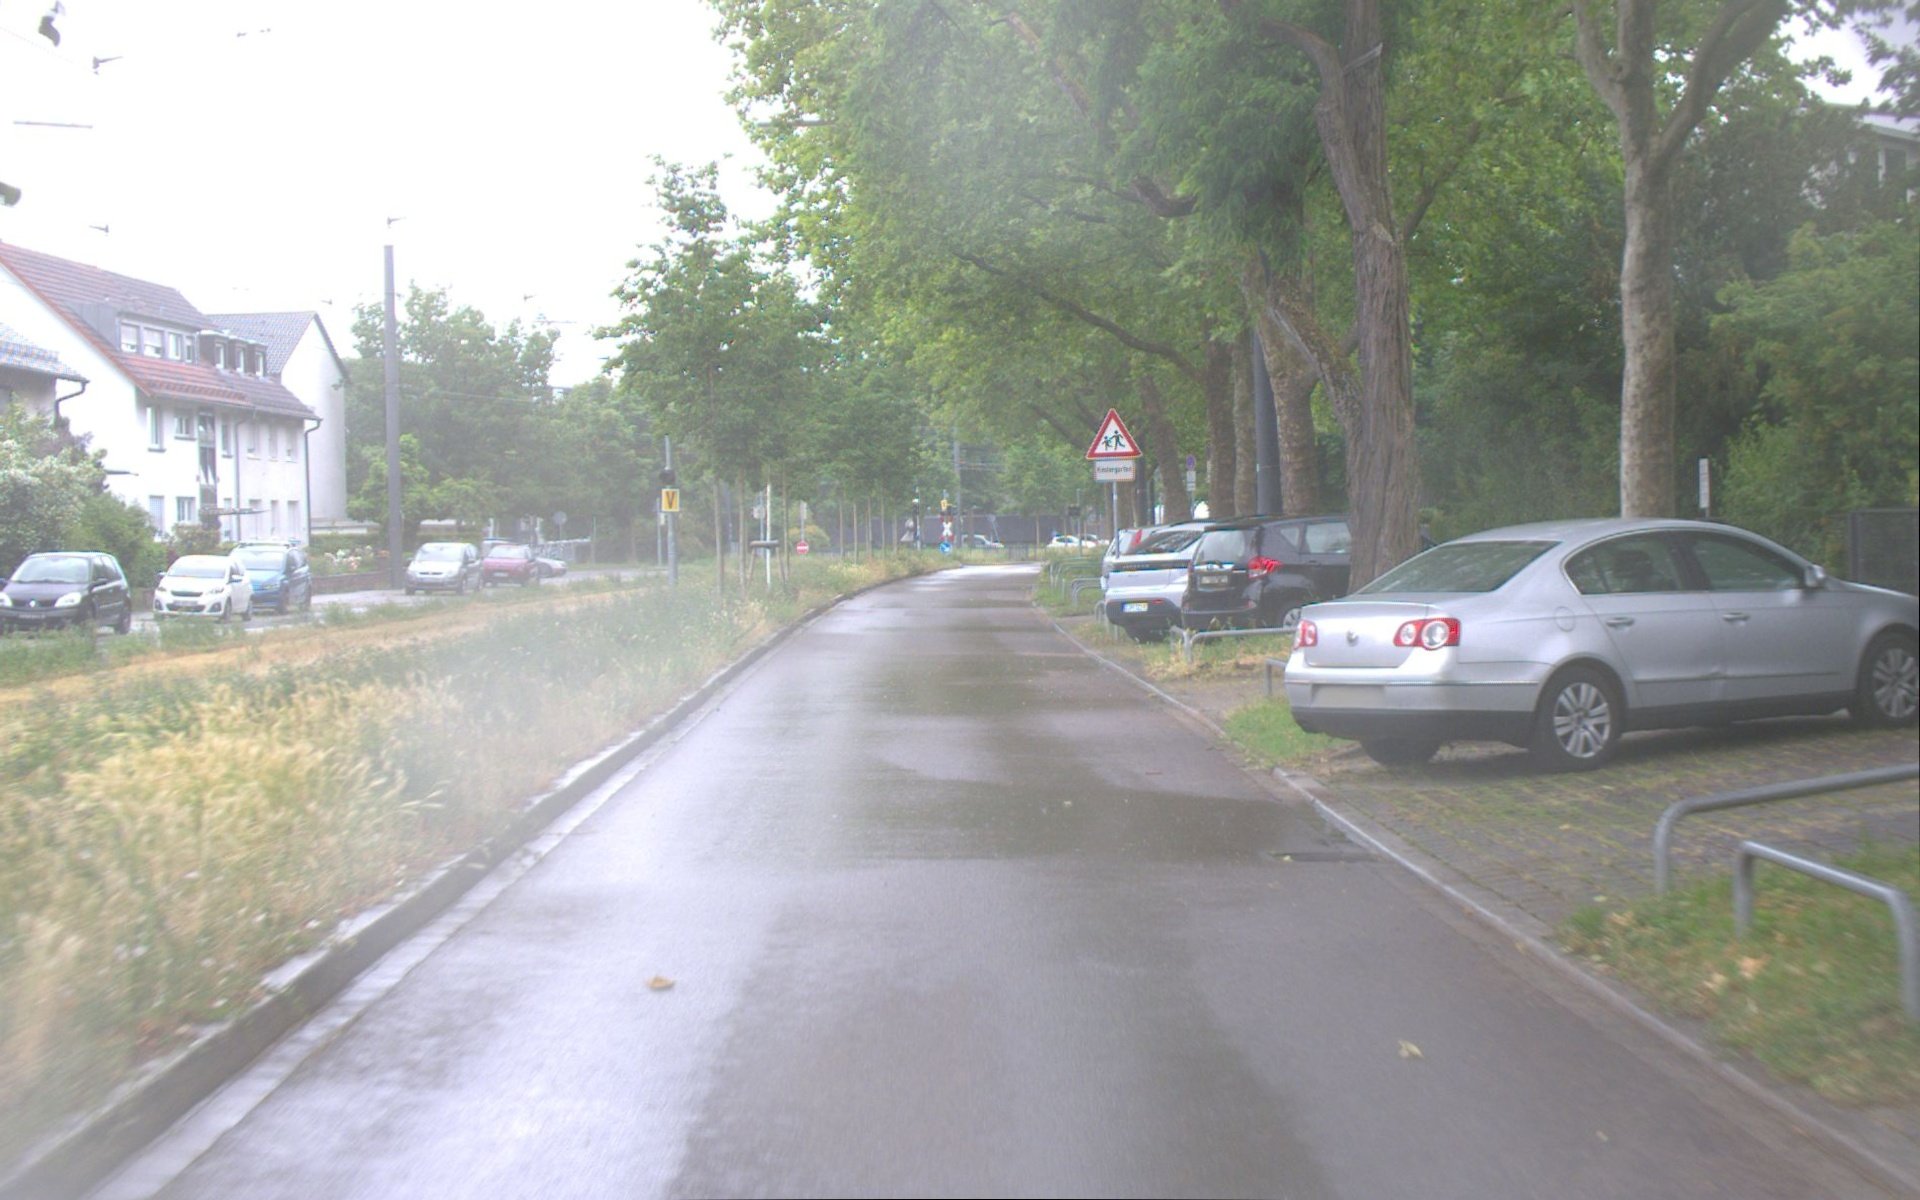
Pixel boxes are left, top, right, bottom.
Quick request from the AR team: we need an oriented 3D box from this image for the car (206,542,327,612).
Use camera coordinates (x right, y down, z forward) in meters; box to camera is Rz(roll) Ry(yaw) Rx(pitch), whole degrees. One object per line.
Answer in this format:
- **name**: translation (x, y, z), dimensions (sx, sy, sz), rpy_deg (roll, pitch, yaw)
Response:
- **car**: translation (-16.833, -0.583, 83.597), dimensions (1.993, 1.608, 4.413), rpy_deg (1, 2, 1)

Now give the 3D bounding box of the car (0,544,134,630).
- **car**: translation (-17.124, -0.276, 64.946), dimensions (1.993, 1.511, 4.206), rpy_deg (1, 2, 1)

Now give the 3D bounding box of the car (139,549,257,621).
- **car**: translation (-16.982, -0.354, 76.800), dimensions (1.796, 1.483, 3.597), rpy_deg (1, 2, 1)

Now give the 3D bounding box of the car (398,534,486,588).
- **car**: translation (-16.111, -1.234, 107.137), dimensions (1.993, 1.575, 4.517), rpy_deg (1, 2, 1)

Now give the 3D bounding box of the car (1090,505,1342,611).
- **car**: translation (4.309, -0.720, 57.930), dimensions (3.854, 1.561, 1.620), rpy_deg (-3, 2, -14)

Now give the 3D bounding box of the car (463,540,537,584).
- **car**: translation (-16.170, -1.352, 121.069), dimensions (1.993, 1.483, 4.206), rpy_deg (1, 2, 1)

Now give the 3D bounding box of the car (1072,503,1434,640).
- **car**: translation (4.036, -0.410, 46.965), dimensions (4.761, 1.662, 1.994), rpy_deg (-3, 2, -37)

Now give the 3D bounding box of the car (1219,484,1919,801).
- **car**: translation (4.054, 0.189, 21.547), dimensions (4.547, 1.539, 1.887), rpy_deg (-5, 3, -32)

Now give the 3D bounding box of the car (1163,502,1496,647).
- **car**: translation (4.416, -0.321, 40.942), dimensions (3.702, 1.561, 1.619), rpy_deg (-3, 2, -33)
